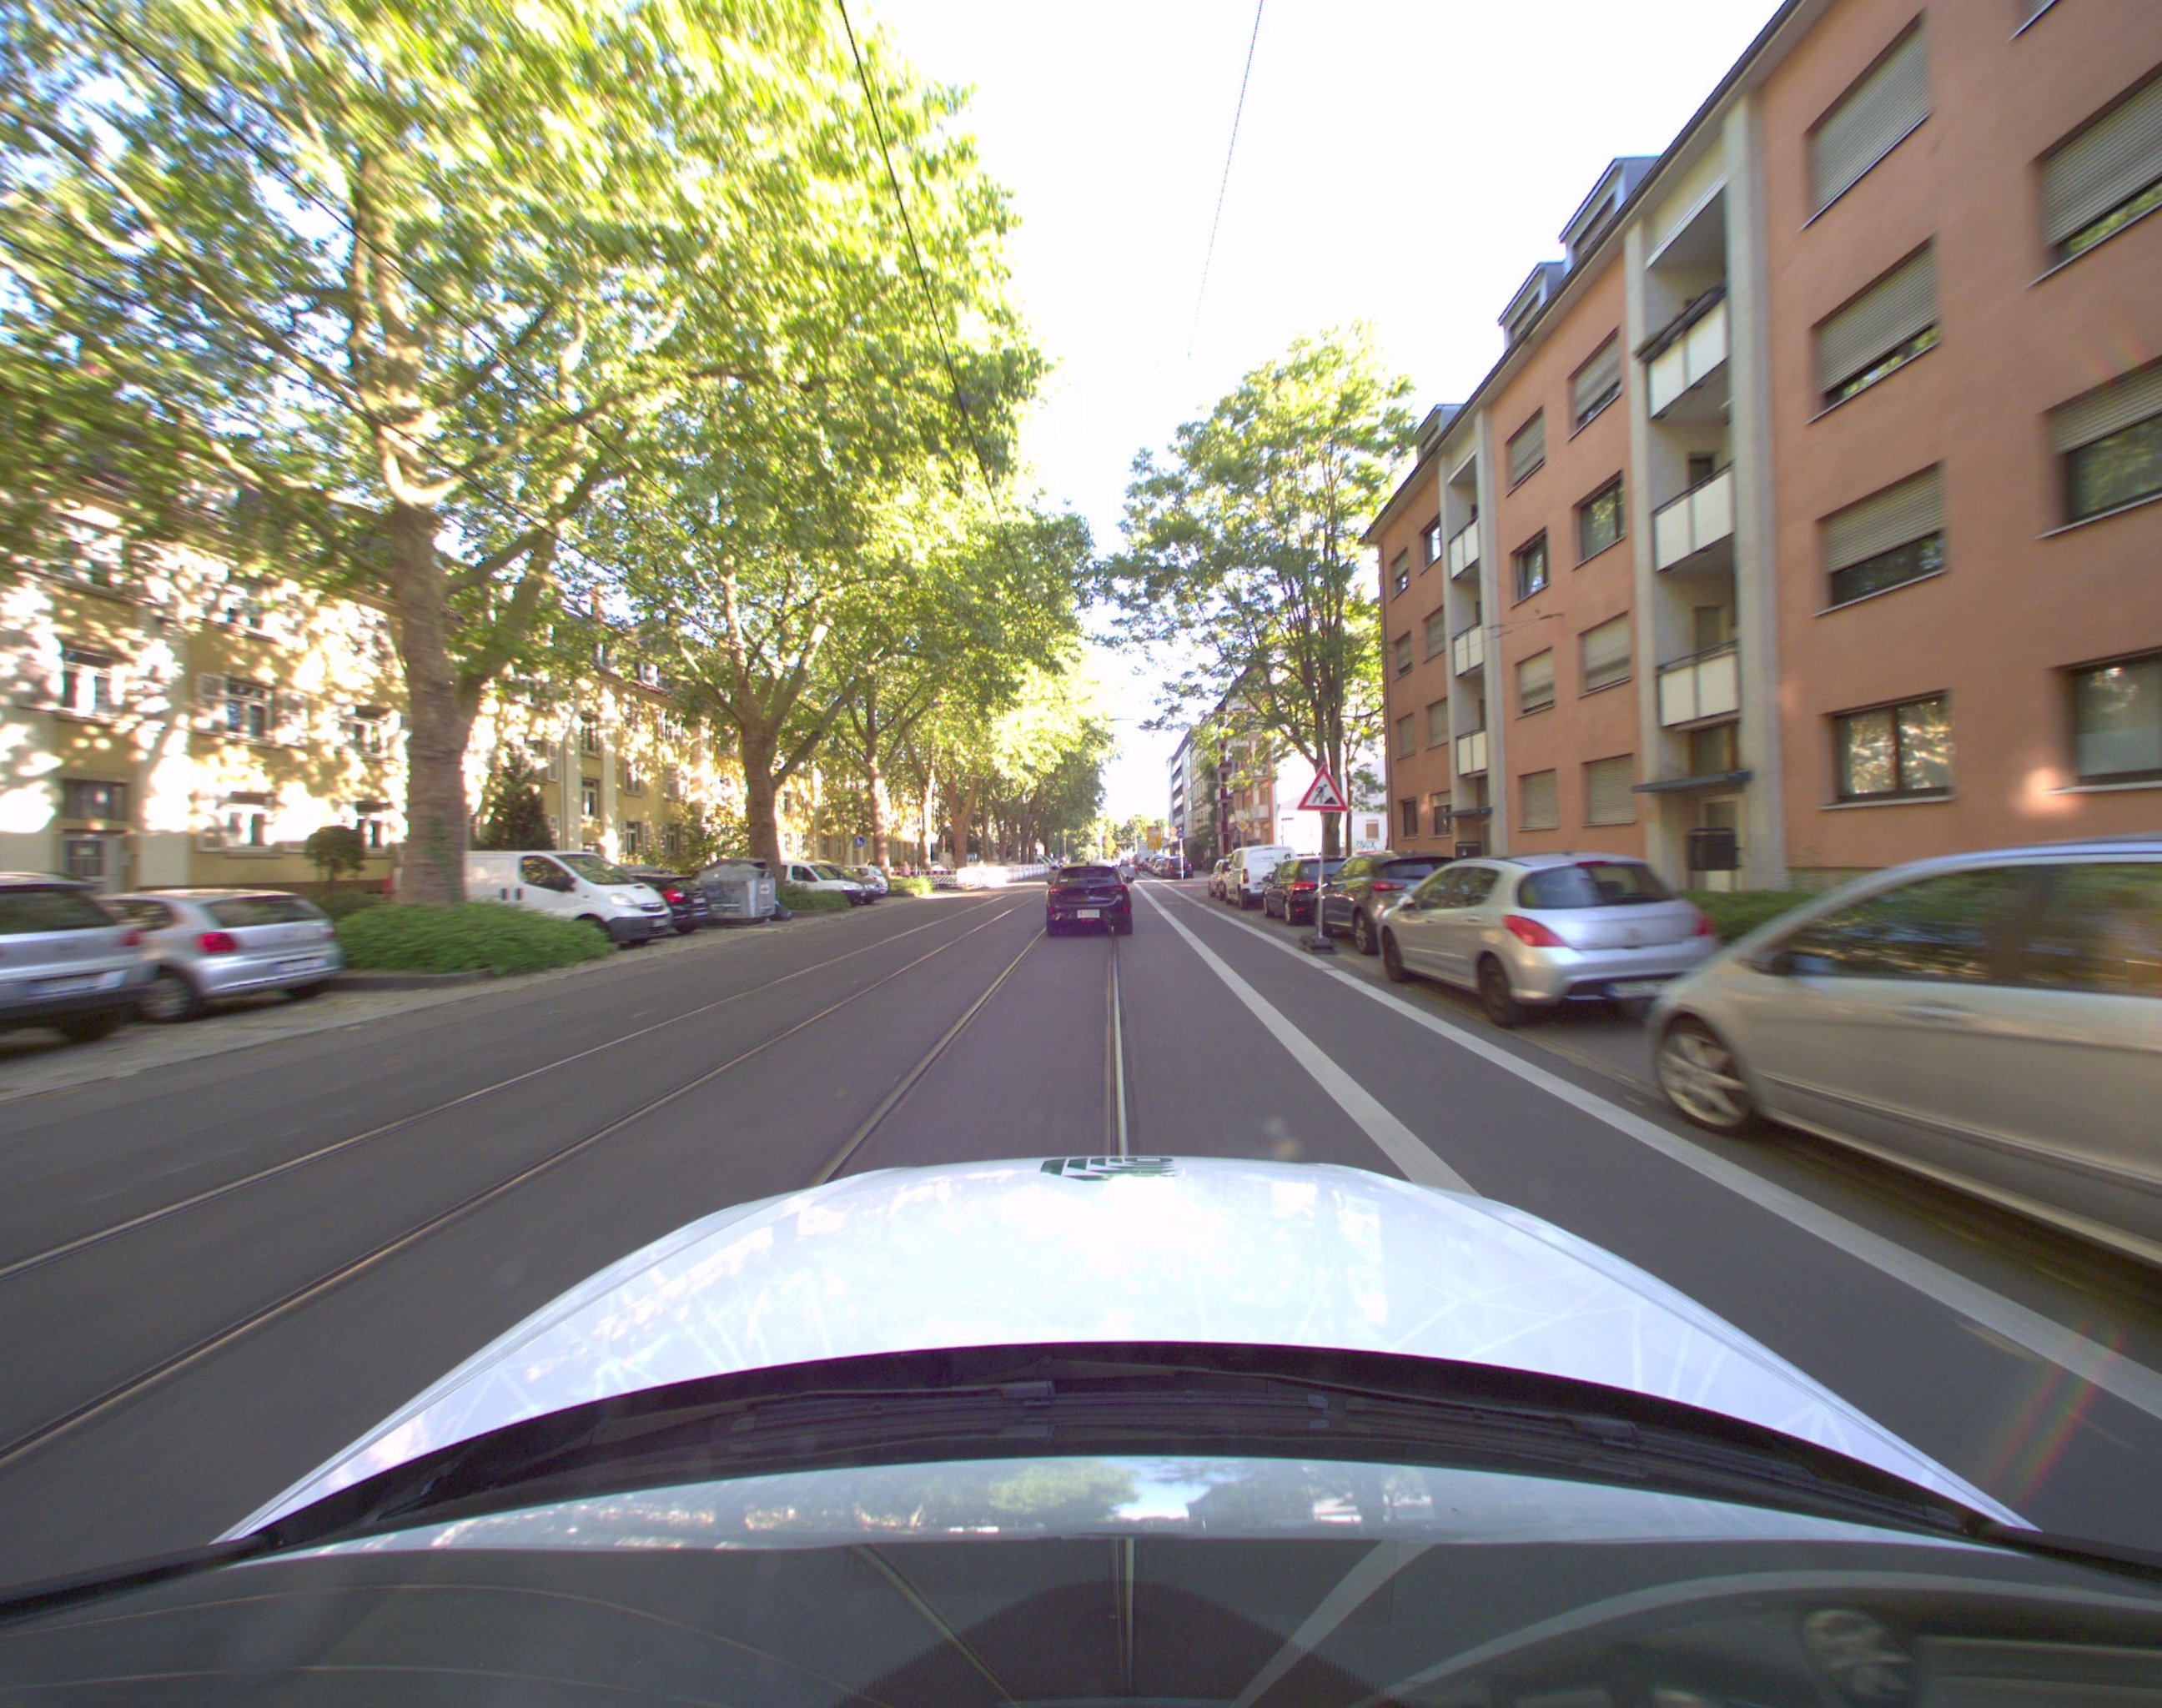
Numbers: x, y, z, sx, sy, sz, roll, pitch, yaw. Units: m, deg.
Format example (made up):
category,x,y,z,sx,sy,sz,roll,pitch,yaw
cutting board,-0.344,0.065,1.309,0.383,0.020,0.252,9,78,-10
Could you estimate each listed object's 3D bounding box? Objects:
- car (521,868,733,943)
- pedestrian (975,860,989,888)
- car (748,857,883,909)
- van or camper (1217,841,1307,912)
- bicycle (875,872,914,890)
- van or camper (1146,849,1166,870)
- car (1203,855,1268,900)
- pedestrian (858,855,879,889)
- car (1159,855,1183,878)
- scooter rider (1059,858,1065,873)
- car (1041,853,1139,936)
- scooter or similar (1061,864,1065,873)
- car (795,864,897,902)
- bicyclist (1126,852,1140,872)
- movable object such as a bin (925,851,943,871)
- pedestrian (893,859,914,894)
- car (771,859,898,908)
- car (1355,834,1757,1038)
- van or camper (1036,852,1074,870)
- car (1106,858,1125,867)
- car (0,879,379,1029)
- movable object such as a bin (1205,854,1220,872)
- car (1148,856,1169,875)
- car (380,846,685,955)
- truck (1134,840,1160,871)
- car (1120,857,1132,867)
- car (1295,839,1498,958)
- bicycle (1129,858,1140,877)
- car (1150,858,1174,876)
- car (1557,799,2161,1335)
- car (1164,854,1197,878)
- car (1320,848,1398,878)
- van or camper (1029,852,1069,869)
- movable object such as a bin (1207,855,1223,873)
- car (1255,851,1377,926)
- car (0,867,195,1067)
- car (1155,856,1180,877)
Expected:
category,x,y,z,sx,sy,sz,roll,pitch,yaw
car,-10.460,1.166,18.982,3.832,1.498,1.863,-2,0,2
pedestrian,-6.138,1.223,50.311,0.714,1.669,0.779,-1,-1,2
car,-9.439,1.017,29.162,4.181,1.757,1.741,-1,0,3
van or camper,5.326,0.618,24.564,1.748,1.864,4.832,-2,0,2
bicycle,-10.295,1.488,45.057,1.964,0.963,0.726,-2,0,2
van or camper,7.235,0.535,78.556,1.662,1.883,4.213,-3,0,3
car,5.581,0.798,29.867,1.699,1.473,4.002,-2,0,2
pedestrian,-10.841,0.915,41.626,0.819,1.745,0.797,-1,-1,2
car,6.429,0.894,58.450,1.520,1.590,3.754,-1,-1,3
scooter rider,-2.437,1.439,105.006,0.647,1.957,0.624,-1,-1,2
car,0.229,0.758,17.005,1.775,1.496,4.001,-1,0,2
scooter or similar,-2.366,1.888,105.072,0.406,1.083,1.339,-1,-1,3
car,-10.281,1.252,35.772,3.832,1.498,1.863,-2,0,2
bicyclist,4.418,0.697,69.284,1.084,1.647,1.402,-1,0,3
movable object such as a bin,-13.946,0.688,77.284,1.328,1.869,2.008,-1,-1,2
pedestrian,-9.038,1.133,41.462,0.819,1.745,0.797,-1,-1,2
car,-9.511,1.113,31.570,4.210,1.688,1.938,-2,0,8
car,4.527,0.664,8.684,1.781,1.522,4.324,-4,0,2
van or camper,-4.009,1.061,126.484,5.701,2.644,2.270,-1,-1,2
car,7.584,1.821,177.788,1.931,1.695,4.276,-3,0,-34
car,-11.190,1.147,9.809,3.832,1.498,1.863,-2,0,2
movable object such as a bin,10.010,0.691,61.847,0.920,1.327,1.682,-1,-1,2
car,7.024,1.031,73.664,1.653,1.580,3.591,-3,0,2
car,-10.667,0.867,16.131,4.644,1.945,1.961,-1,0,-2
truck,7.714,0.205,95.879,2.528,3.338,7.199,-4,-1,3
car,7.922,1.419,143.058,1.986,1.695,4.741,-4,0,2
car,5.046,0.640,13.714,1.761,1.572,4.338,-4,0,2
bicycle,4.535,1.155,69.446,0.912,1.561,3.407,-1,0,3
car,6.764,1.060,68.563,1.653,1.399,4.741,-4,0,2
car,4.193,0.612,3.522,1.786,1.628,4.278,-4,0,2
car,6.592,0.792,54.347,1.727,1.462,3.917,-4,0,2
car,15.627,0.478,45.904,3.900,1.482,1.562,-2,2,0
van or camper,-4.536,0.944,117.198,5.475,2.379,2.273,-1,-1,5
movable object such as a bin,9.890,0.736,60.057,0.963,1.327,1.722,-1,-1,2
car,5.266,0.709,18.791,1.699,1.473,4.170,-2,0,2
car,-10.994,1.030,7.409,3.832,1.663,1.863,-2,0,2
car,6.643,0.965,63.036,1.585,1.526,3.837,-4,-1,2
